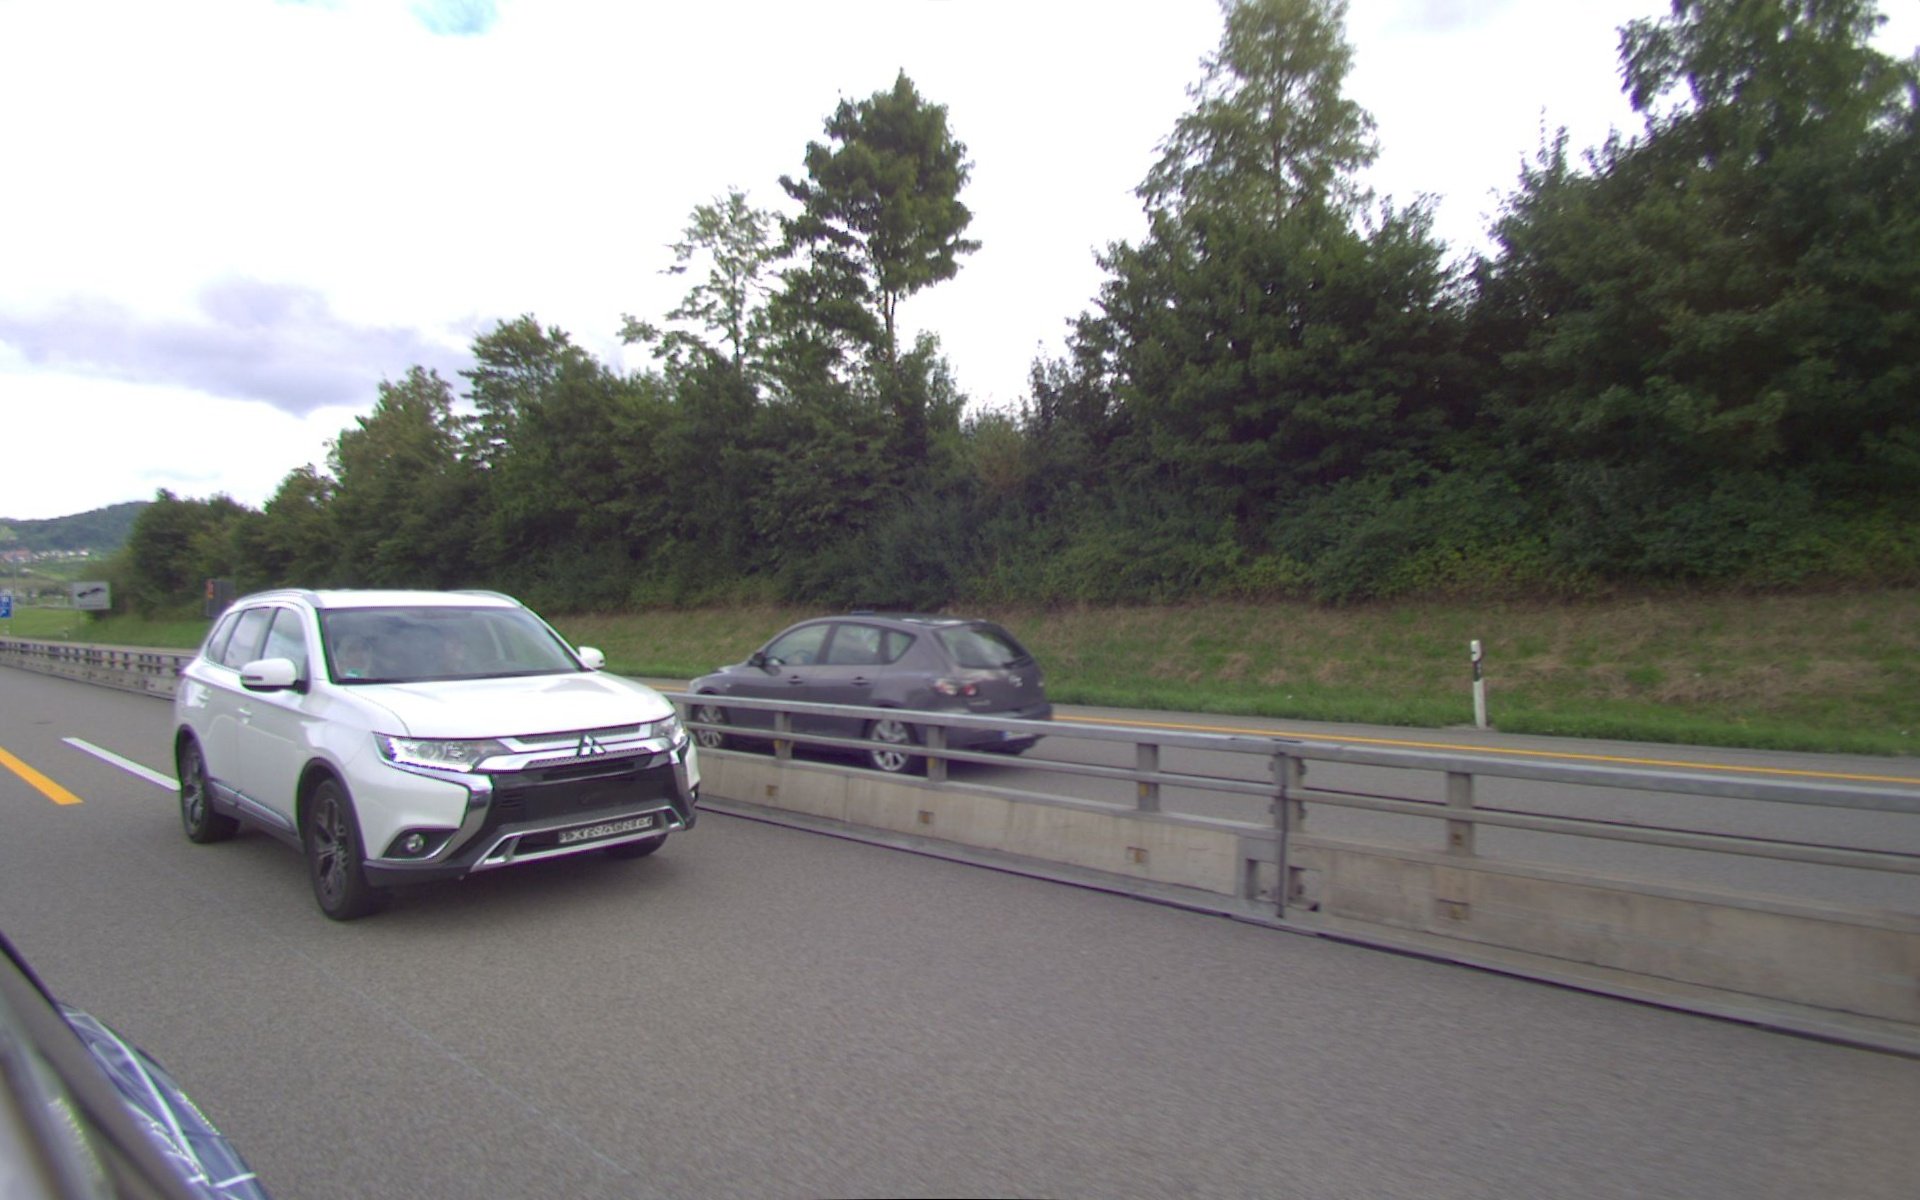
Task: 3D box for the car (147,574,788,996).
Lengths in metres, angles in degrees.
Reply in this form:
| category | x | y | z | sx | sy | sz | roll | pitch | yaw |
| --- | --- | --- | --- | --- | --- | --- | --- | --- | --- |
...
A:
| category | x | y | z | sx | sy | sz | roll | pitch | yaw |
| --- | --- | --- | --- | --- | --- | --- | --- | --- | --- |
| car | -3.289 | 0.769 | 6.232 | 4.606 | 1.640 | 1.972 | -2 | -1 | 42 |

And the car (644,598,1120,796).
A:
| category | x | y | z | sx | sy | sz | roll | pitch | yaw |
| --- | --- | --- | --- | --- | --- | --- | --- | --- | --- |
| car | -0.988 | 0.795 | 10.207 | 4.830 | 1.518 | 1.973 | -1 | 0 | 41 |
